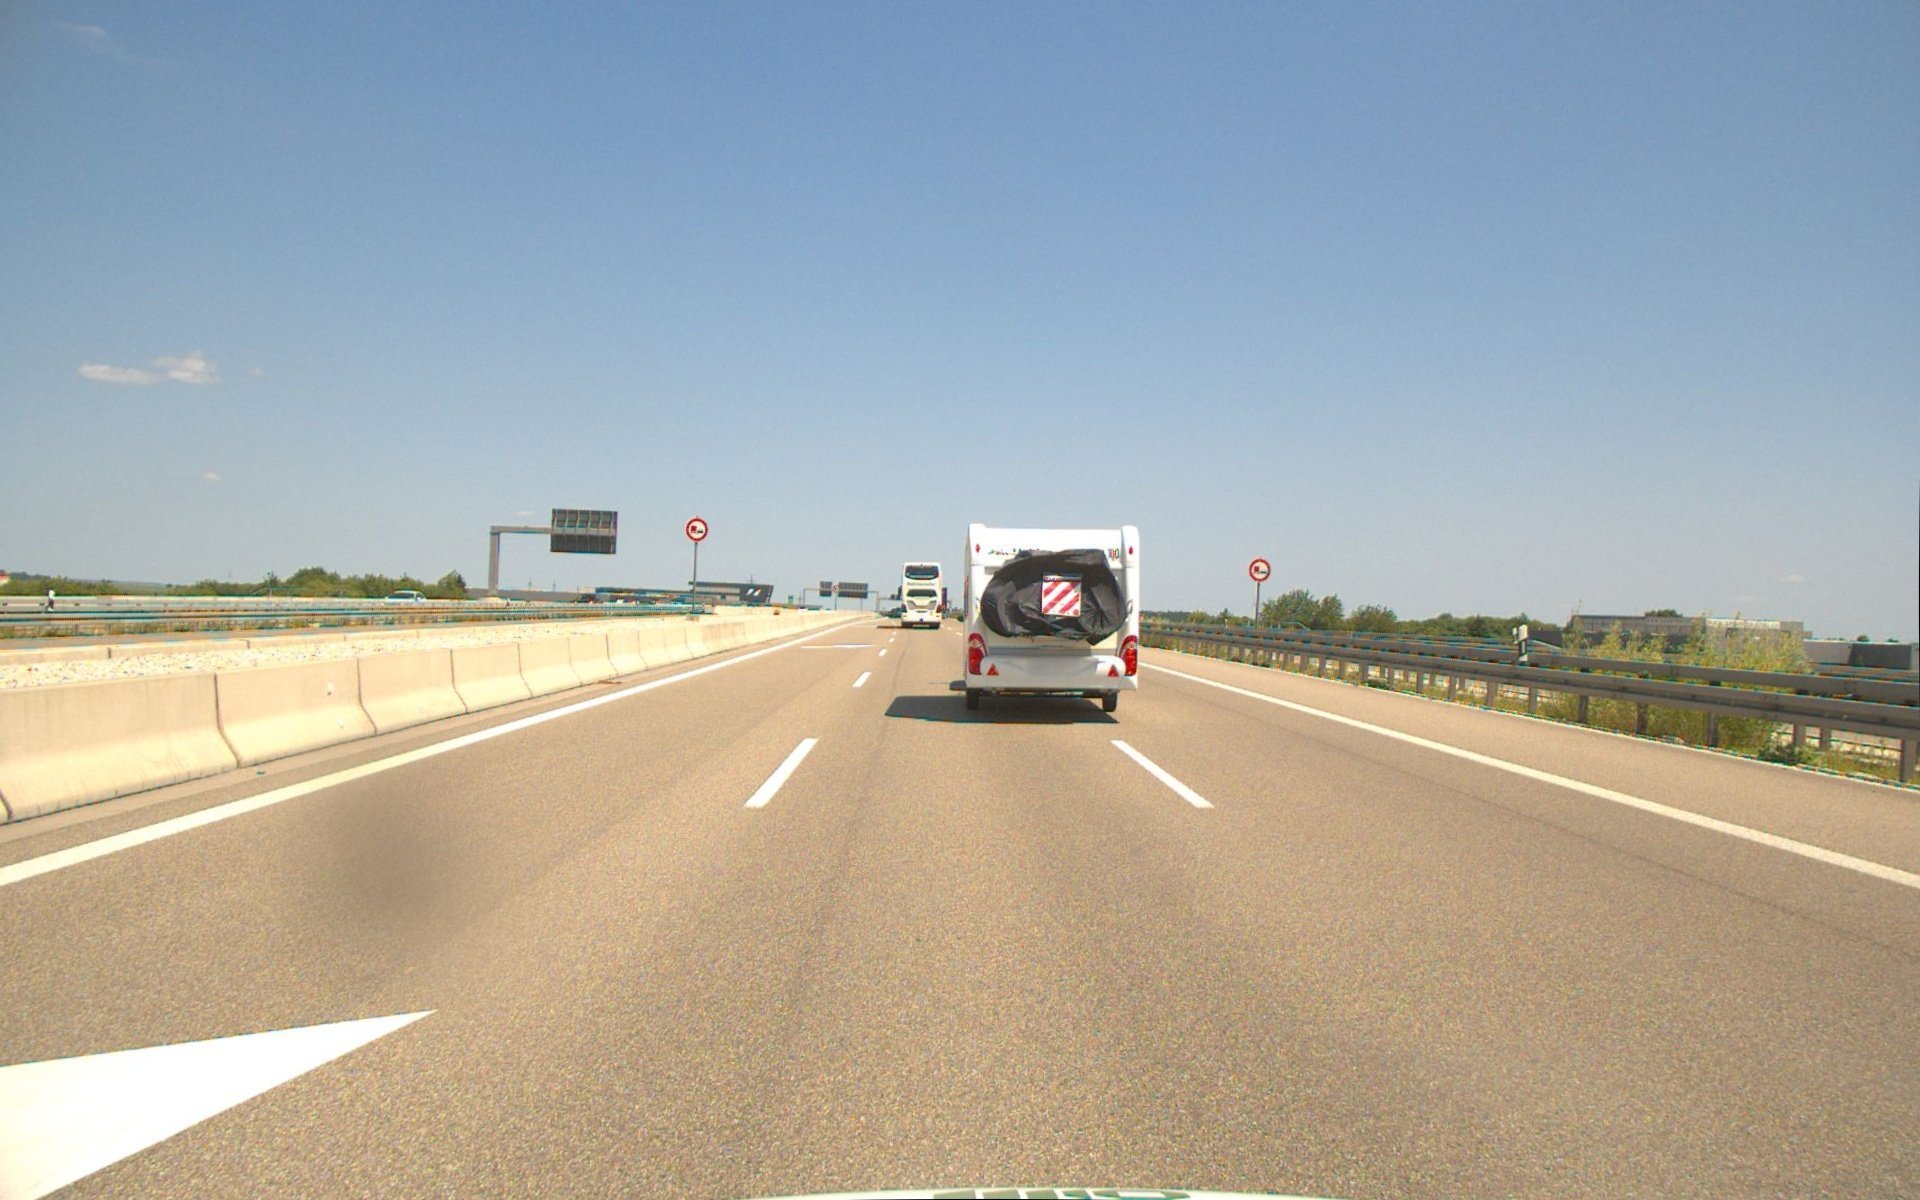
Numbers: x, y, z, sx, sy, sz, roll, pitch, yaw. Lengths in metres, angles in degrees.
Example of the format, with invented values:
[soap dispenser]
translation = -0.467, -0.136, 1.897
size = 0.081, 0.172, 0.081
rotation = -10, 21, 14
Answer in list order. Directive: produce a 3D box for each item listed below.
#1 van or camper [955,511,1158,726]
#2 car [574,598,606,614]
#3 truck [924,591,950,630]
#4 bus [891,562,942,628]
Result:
[van or camper]
translation = 1.192, 0.246, 24.571
size = 2.461, 2.638, 7.816
rotation = 1, 0, -1
[car]
translation = -34.054, 0.530, 152.356
size = 1.952, 1.403, 4.362
rotation = 1, 0, 0
[truck]
translation = -3.138, 1.523, 222.565
size = 3.311, 4.543, 13.561
rotation = 2, -3, -1
[bus]
translation = -2.854, -0.307, 106.020
size = 2.921, 4.044, 9.098
rotation = 1, 0, -3
